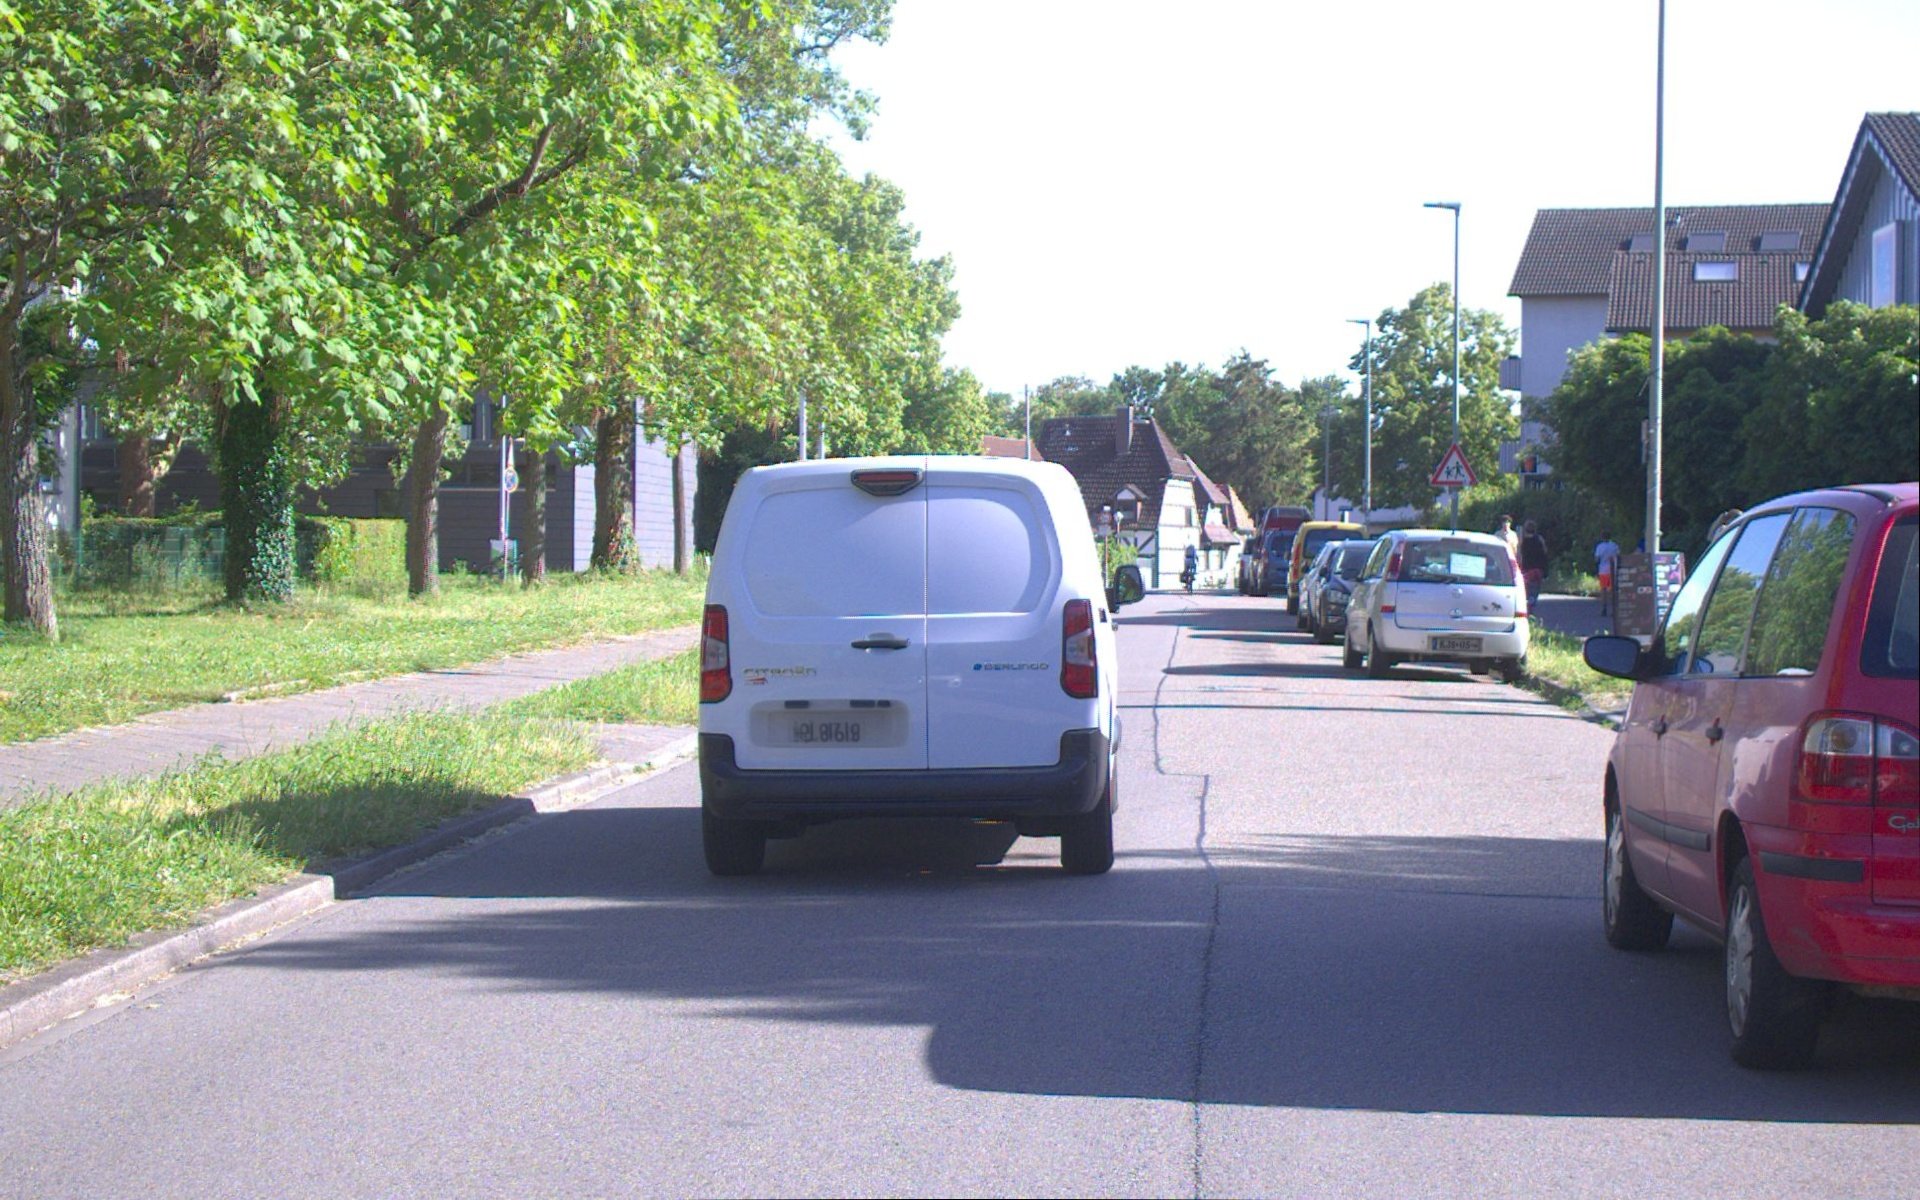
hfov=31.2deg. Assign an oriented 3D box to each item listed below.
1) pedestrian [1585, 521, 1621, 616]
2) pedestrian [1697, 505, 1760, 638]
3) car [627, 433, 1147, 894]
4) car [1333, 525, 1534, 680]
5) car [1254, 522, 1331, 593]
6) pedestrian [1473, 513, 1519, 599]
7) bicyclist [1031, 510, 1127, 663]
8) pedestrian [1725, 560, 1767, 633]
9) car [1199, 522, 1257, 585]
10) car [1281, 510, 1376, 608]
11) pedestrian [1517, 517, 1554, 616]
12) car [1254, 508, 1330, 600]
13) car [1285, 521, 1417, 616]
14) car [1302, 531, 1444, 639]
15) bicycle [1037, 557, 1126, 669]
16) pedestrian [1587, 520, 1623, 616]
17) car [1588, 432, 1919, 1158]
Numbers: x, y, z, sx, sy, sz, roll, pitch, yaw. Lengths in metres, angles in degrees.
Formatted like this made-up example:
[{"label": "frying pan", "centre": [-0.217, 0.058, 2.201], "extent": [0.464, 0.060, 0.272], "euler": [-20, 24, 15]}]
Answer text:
[{"label": "pedestrian", "centre": [11.072, -0.549, 59.200], "extent": [0.567, 1.631, 0.546], "euler": [1, 1, 9]}, {"label": "pedestrian", "centre": [10.363, -0.389, 46.367], "extent": [0.799, 1.775, 0.808], "euler": [1, 1, 12]}, {"label": "car", "centre": [-0.190, 0.209, 16.229], "extent": [1.994, 1.875, 4.288], "euler": [0, 1, 5]}, {"label": "car", "centre": [5.177, 0.002, 38.029], "extent": [1.679, 1.594, 4.028], "euler": [1, 1, 1]}, {"label": "car", "centre": [9.002, -1.133, 93.340], "extent": [1.804, 1.779, 4.000], "euler": [3, 0, 3]}, {"label": "pedestrian", "centre": [11.650, -0.957, 74.770], "extent": [0.793, 1.855, 0.874], "euler": [1, 1, -3]}, {"label": "bicyclist", "centre": [1.258, -0.146, 36.420], "extent": [0.905, 1.579, 0.966], "euler": [1, 0, -3]}, {"label": "pedestrian", "centre": [10.785, -0.050, 47.165], "extent": [0.532, 0.977, 0.810], "euler": [1, 1, 12]}, {"label": "car", "centre": [9.336, -1.602, 119.835], "extent": [1.804, 2.061, 4.000], "euler": [3, 0, 3]}, {"label": "car", "centre": [7.131, -0.799, 66.765], "extent": [1.724, 1.831, 3.999], "euler": [1, 1, 5]}, {"label": "pedestrian", "centre": [9.481, -0.555, 56.641], "extent": [0.567, 1.631, 0.546], "euler": [1, 1, 9]}, {"label": "car", "centre": [9.698, -1.327, 100.751], "extent": [1.866, 2.553, 4.767], "euler": [3, 0, 3]}, {"label": "car", "centre": [6.249, -0.515, 55.273], "extent": [1.826, 1.447, 4.000], "euler": [1, 1, 3]}, {"label": "car", "centre": [5.896, -0.249, 49.443], "extent": [1.807, 1.438, 4.363], "euler": [1, 1, 4]}, {"label": "bicycle", "centre": [1.271, 0.121, 36.423], "extent": [0.787, 1.135, 2.280], "euler": [0, 1, -2]}, {"label": "pedestrian", "centre": [11.111, -0.554, 59.234], "extent": [0.567, 1.631, 0.546], "euler": [1, 1, 9]}, {"label": "car", "centre": [3.131, 0.439, 10.783], "extent": [1.840, 1.799, 4.653], "euler": [0, 1, 5]}]
